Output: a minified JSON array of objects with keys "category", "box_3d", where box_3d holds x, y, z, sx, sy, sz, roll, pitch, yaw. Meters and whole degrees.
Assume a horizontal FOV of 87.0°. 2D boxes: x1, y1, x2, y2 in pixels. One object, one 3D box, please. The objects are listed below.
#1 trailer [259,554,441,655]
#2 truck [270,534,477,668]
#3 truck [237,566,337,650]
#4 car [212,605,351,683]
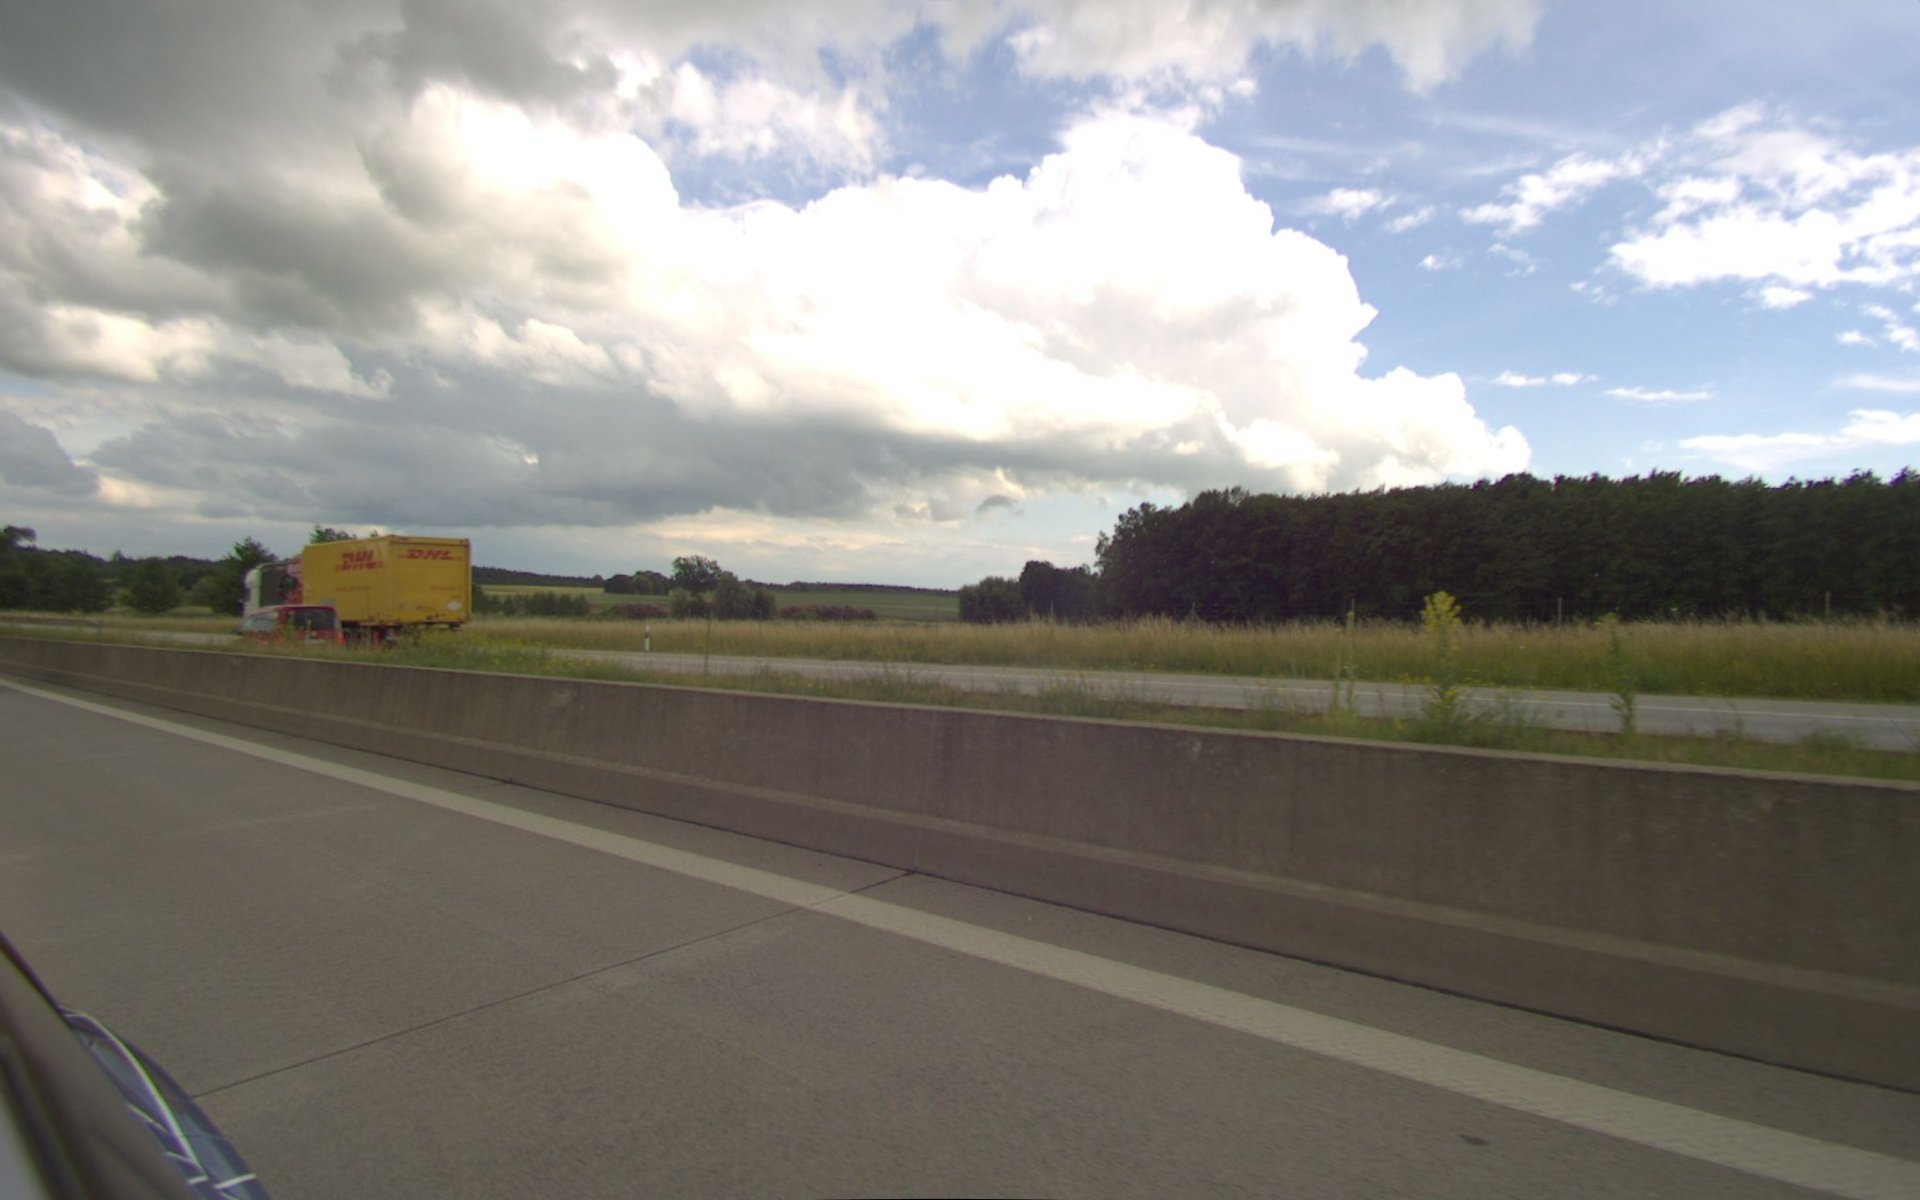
[{"category":"trailer","box_3d":[-28.297,0.317,46.433,13.896,4.069,2.811,-1,-2,40]},{"category":"truck","box_3d":[-20.543,0.127,35.040,10.559,4.069,2.788,-1,-2,40]},{"category":"truck","box_3d":[-34.201,0.443,51.382,5.506,4.069,2.811,-1,-2,40]},{"category":"car","box_3d":[-19.183,1.142,28.516,5.334,1.977,1.795,0,0,39]}]
